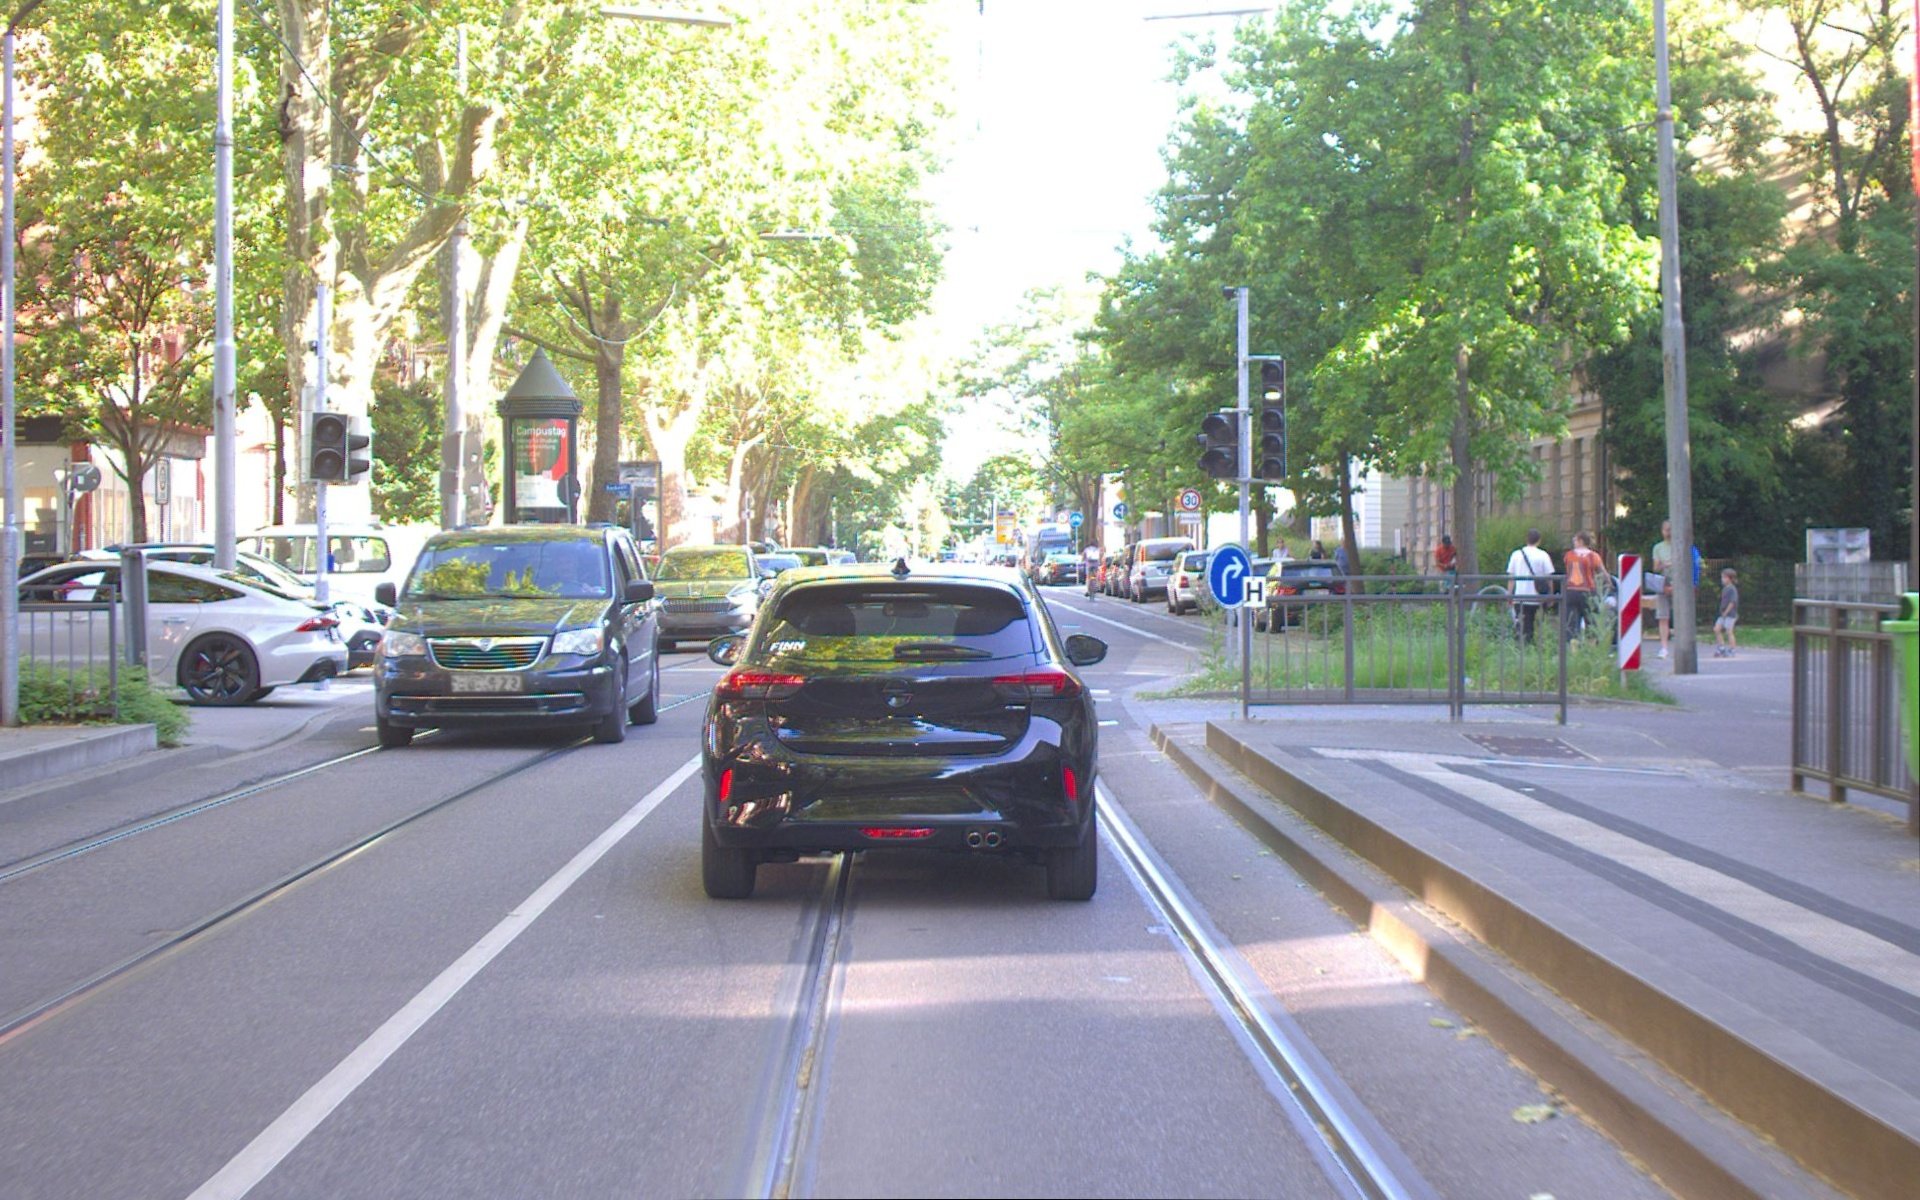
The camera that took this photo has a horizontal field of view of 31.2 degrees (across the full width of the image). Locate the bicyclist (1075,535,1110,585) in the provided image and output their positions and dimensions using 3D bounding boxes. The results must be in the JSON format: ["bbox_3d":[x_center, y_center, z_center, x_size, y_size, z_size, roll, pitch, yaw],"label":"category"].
[{"bbox_3d":[4.022,-1.203,104.335,0.958,1.494,1.094,1,1,-2],"label":"bicyclist"}]

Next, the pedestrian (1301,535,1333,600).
[{"bbox_3d":[9.523,-0.871,91.652,0.726,1.703,0.856,1,0,-1],"label":"pedestrian"}]

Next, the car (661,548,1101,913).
[{"bbox_3d":[-0.341,0.507,15.926,1.763,1.455,3.950,1,1,-1],"label":"car"}]

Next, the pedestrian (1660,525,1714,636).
[{"bbox_3d":[11.352,-0.310,53.673,0.617,1.720,0.554,1,0,-14],"label":"pedestrian"}]

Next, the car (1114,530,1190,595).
[{"bbox_3d":[5.813,-1.134,104.458,1.884,1.845,4.967,-2,1,-1],"label":"car"}]

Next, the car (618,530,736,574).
[{"bbox_3d":[-10.524,-1.788,128.009,4.299,1.601,1.926,1,1,-3],"label":"car"}]

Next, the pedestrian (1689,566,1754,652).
[{"bbox_3d":[10.052,0.113,45.411,0.674,1.115,0.660,1,0,-2],"label":"pedestrian"}]

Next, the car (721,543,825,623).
[{"bbox_3d":[-3.580,-0.339,66.408,1.775,1.456,4.204,1,1,0],"label":"car"}]

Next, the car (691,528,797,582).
[{"bbox_3d":[-10.715,-2.251,170.780,5.036,2.366,2.081,-3,1,0],"label":"car"}]

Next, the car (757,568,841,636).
[{"bbox_3d":[-3.855,0.026,82.866,1.815,1.563,4.116,-1,1,0],"label":"car"}]

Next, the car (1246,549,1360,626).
[{"bbox_3d":[6.743,-0.265,67.952,1.672,1.407,3.843,-2,1,-2],"label":"car"}]

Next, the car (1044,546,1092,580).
[{"bbox_3d":[4.842,-1.664,154.170,1.884,1.429,4.530,-2,1,-1],"label":"car"}]

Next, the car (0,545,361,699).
[{"bbox_3d":[-8.520,0.197,34.499,4.763,1.455,1.955,1,1,-5],"label":"car"}]

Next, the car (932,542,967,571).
[{"bbox_3d":[-0.715,-2.883,226.560,2.254,1.834,5.531,-1,1,-1],"label":"car"}]

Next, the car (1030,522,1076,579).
[{"bbox_3d":[4.629,-2.510,171.461,2.085,2.762,4.698,-1,1,-1],"label":"car"}]

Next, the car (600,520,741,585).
[{"bbox_3d":[-10.503,-1.722,125.072,5.032,2.251,2.086,1,1,-4],"label":"car"}]

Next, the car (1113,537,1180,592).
[{"bbox_3d":[6.134,-1.186,113.427,1.885,1.760,4.678,0,1,-1],"label":"car"}]

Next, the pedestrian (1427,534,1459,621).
[{"bbox_3d":[10.021,-0.463,71.347,0.599,1.787,0.728,1,0,10],"label":"pedestrian"}]

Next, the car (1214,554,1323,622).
[{"bbox_3d":[6.645,-0.276,74.488,1.884,1.363,4.107,-2,1,-1],"label":"car"}]

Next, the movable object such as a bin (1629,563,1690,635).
[{"bbox_3d":[11.116,-0.022,54.649,0.665,1.122,0.957,1,1,-8],"label":"movable object such as a bin"}]

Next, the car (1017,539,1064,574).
[{"bbox_3d":[4.319,-2.335,185.227,2.254,1.834,5.531,-1,1,-1],"label":"car"}]

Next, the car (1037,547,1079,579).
[{"bbox_3d":[4.677,-1.765,164.265,1.803,1.429,4.000,-1,0,-1],"label":"car"}]

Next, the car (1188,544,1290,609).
[{"bbox_3d":[6.780,-0.574,83.930,1.884,1.462,4.594,-2,1,-2],"label":"car"}]

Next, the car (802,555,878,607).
[{"bbox_3d":[-3.526,-0.563,100.453,1.660,1.439,3.474,1,1,-11],"label":"car"}]

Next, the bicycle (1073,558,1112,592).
[{"bbox_3d":[4.021,-0.773,104.369,0.968,0.995,2.583,1,1,-2],"label":"bicycle"}]

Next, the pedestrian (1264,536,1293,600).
[{"bbox_3d":[8.486,-0.864,91.679,0.726,1.687,0.957,1,0,4],"label":"pedestrian"}]

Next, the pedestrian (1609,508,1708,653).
[{"bbox_3d":[9.210,-0.260,45.329,0.867,1.878,0.998,1,1,-18],"label":"pedestrian"}]

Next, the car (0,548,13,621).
[{"bbox_3d":[-21.807,-0.362,70.183,4.526,1.484,1.861,1,1,-6],"label":"car"}]

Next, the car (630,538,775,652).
[{"bbox_3d":[-3.885,-0.099,52.451,1.908,1.632,4.321,-1,1,-1],"label":"car"}]

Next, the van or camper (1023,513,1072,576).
[{"bbox_3d":[4.513,-2.863,178.022,2.254,3.205,5.531,-1,1,-1],"label":"van or camper"}]

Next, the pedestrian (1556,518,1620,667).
[{"bbox_3d":[7.718,-0.102,42.269,0.726,1.787,0.967,-2,1,10],"label":"pedestrian"}]

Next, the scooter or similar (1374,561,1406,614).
[{"bbox_3d":[10.113,-0.296,80.833,0.576,1.242,1.335,1,1,0],"label":"scooter or similar"}]

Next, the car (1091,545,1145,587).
[{"bbox_3d":[5.854,-1.275,128.002,1.702,1.418,3.978,-3,1,-1],"label":"car"}]

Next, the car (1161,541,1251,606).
[{"bbox_3d":[6.316,-0.682,88.638,1.884,1.562,4.242,-2,1,-1],"label":"car"}]

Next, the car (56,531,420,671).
[{"bbox_3d":[-8.938,-0.003,42.810,4.139,1.641,1.902,1,1,-2],"label":"car"}]

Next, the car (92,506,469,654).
[{"bbox_3d":[-8.868,-0.271,45.155,4.570,1.828,1.939,1,1,-2],"label":"car"}]

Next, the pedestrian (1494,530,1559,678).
[{"bbox_3d":[6.964,0.040,42.205,0.726,1.787,0.853,-2,1,10],"label":"pedestrian"}]

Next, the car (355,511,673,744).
[{"bbox_3d":[-3.557,0.178,28.317,1.993,1.710,5.143,1,1,-1],"label":"car"}]
